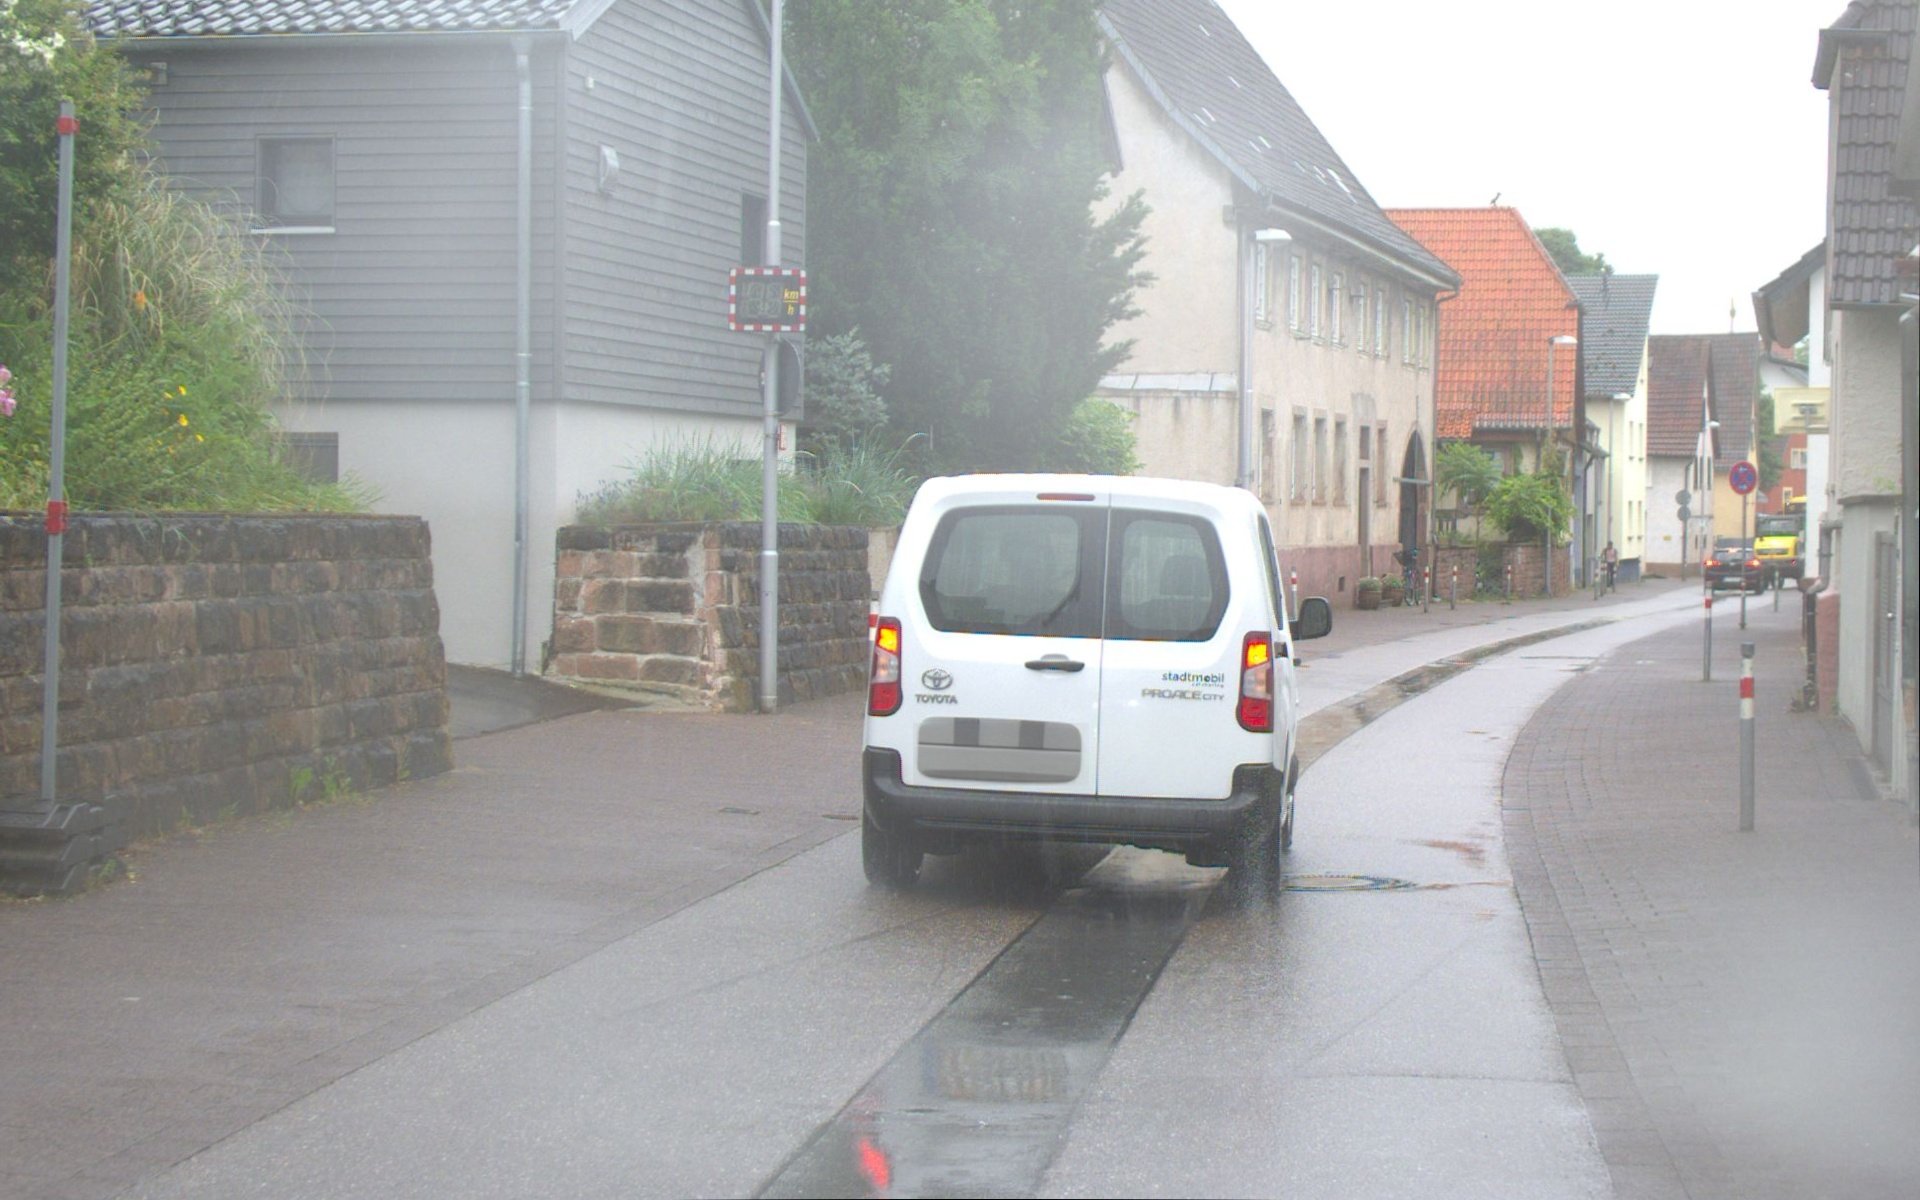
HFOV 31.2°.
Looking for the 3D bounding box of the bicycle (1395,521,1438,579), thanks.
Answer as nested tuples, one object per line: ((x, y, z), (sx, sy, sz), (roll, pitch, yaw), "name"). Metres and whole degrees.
((9.387, -1.026, 70.641), (0.483, 1.176, 1.834), (2, 1, 18), "bicycle")

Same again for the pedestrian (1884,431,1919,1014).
((3.257, 0.363, 10.402), (0.694, 1.726, 0.821), (3, 3, 7), "pedestrian")

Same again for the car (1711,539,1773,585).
((24.259, -1.182, 106.611), (1.563, 1.367, 3.582), (2, 1, 17), "car")

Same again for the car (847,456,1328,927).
((0.724, 0.336, 15.901), (1.795, 1.812, 4.100), (3, 1, 7), "car")

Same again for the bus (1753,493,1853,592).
((29.201, -1.984, 118.846), (2.796, 3.169, 8.171), (3, 2, 16), "bus")
